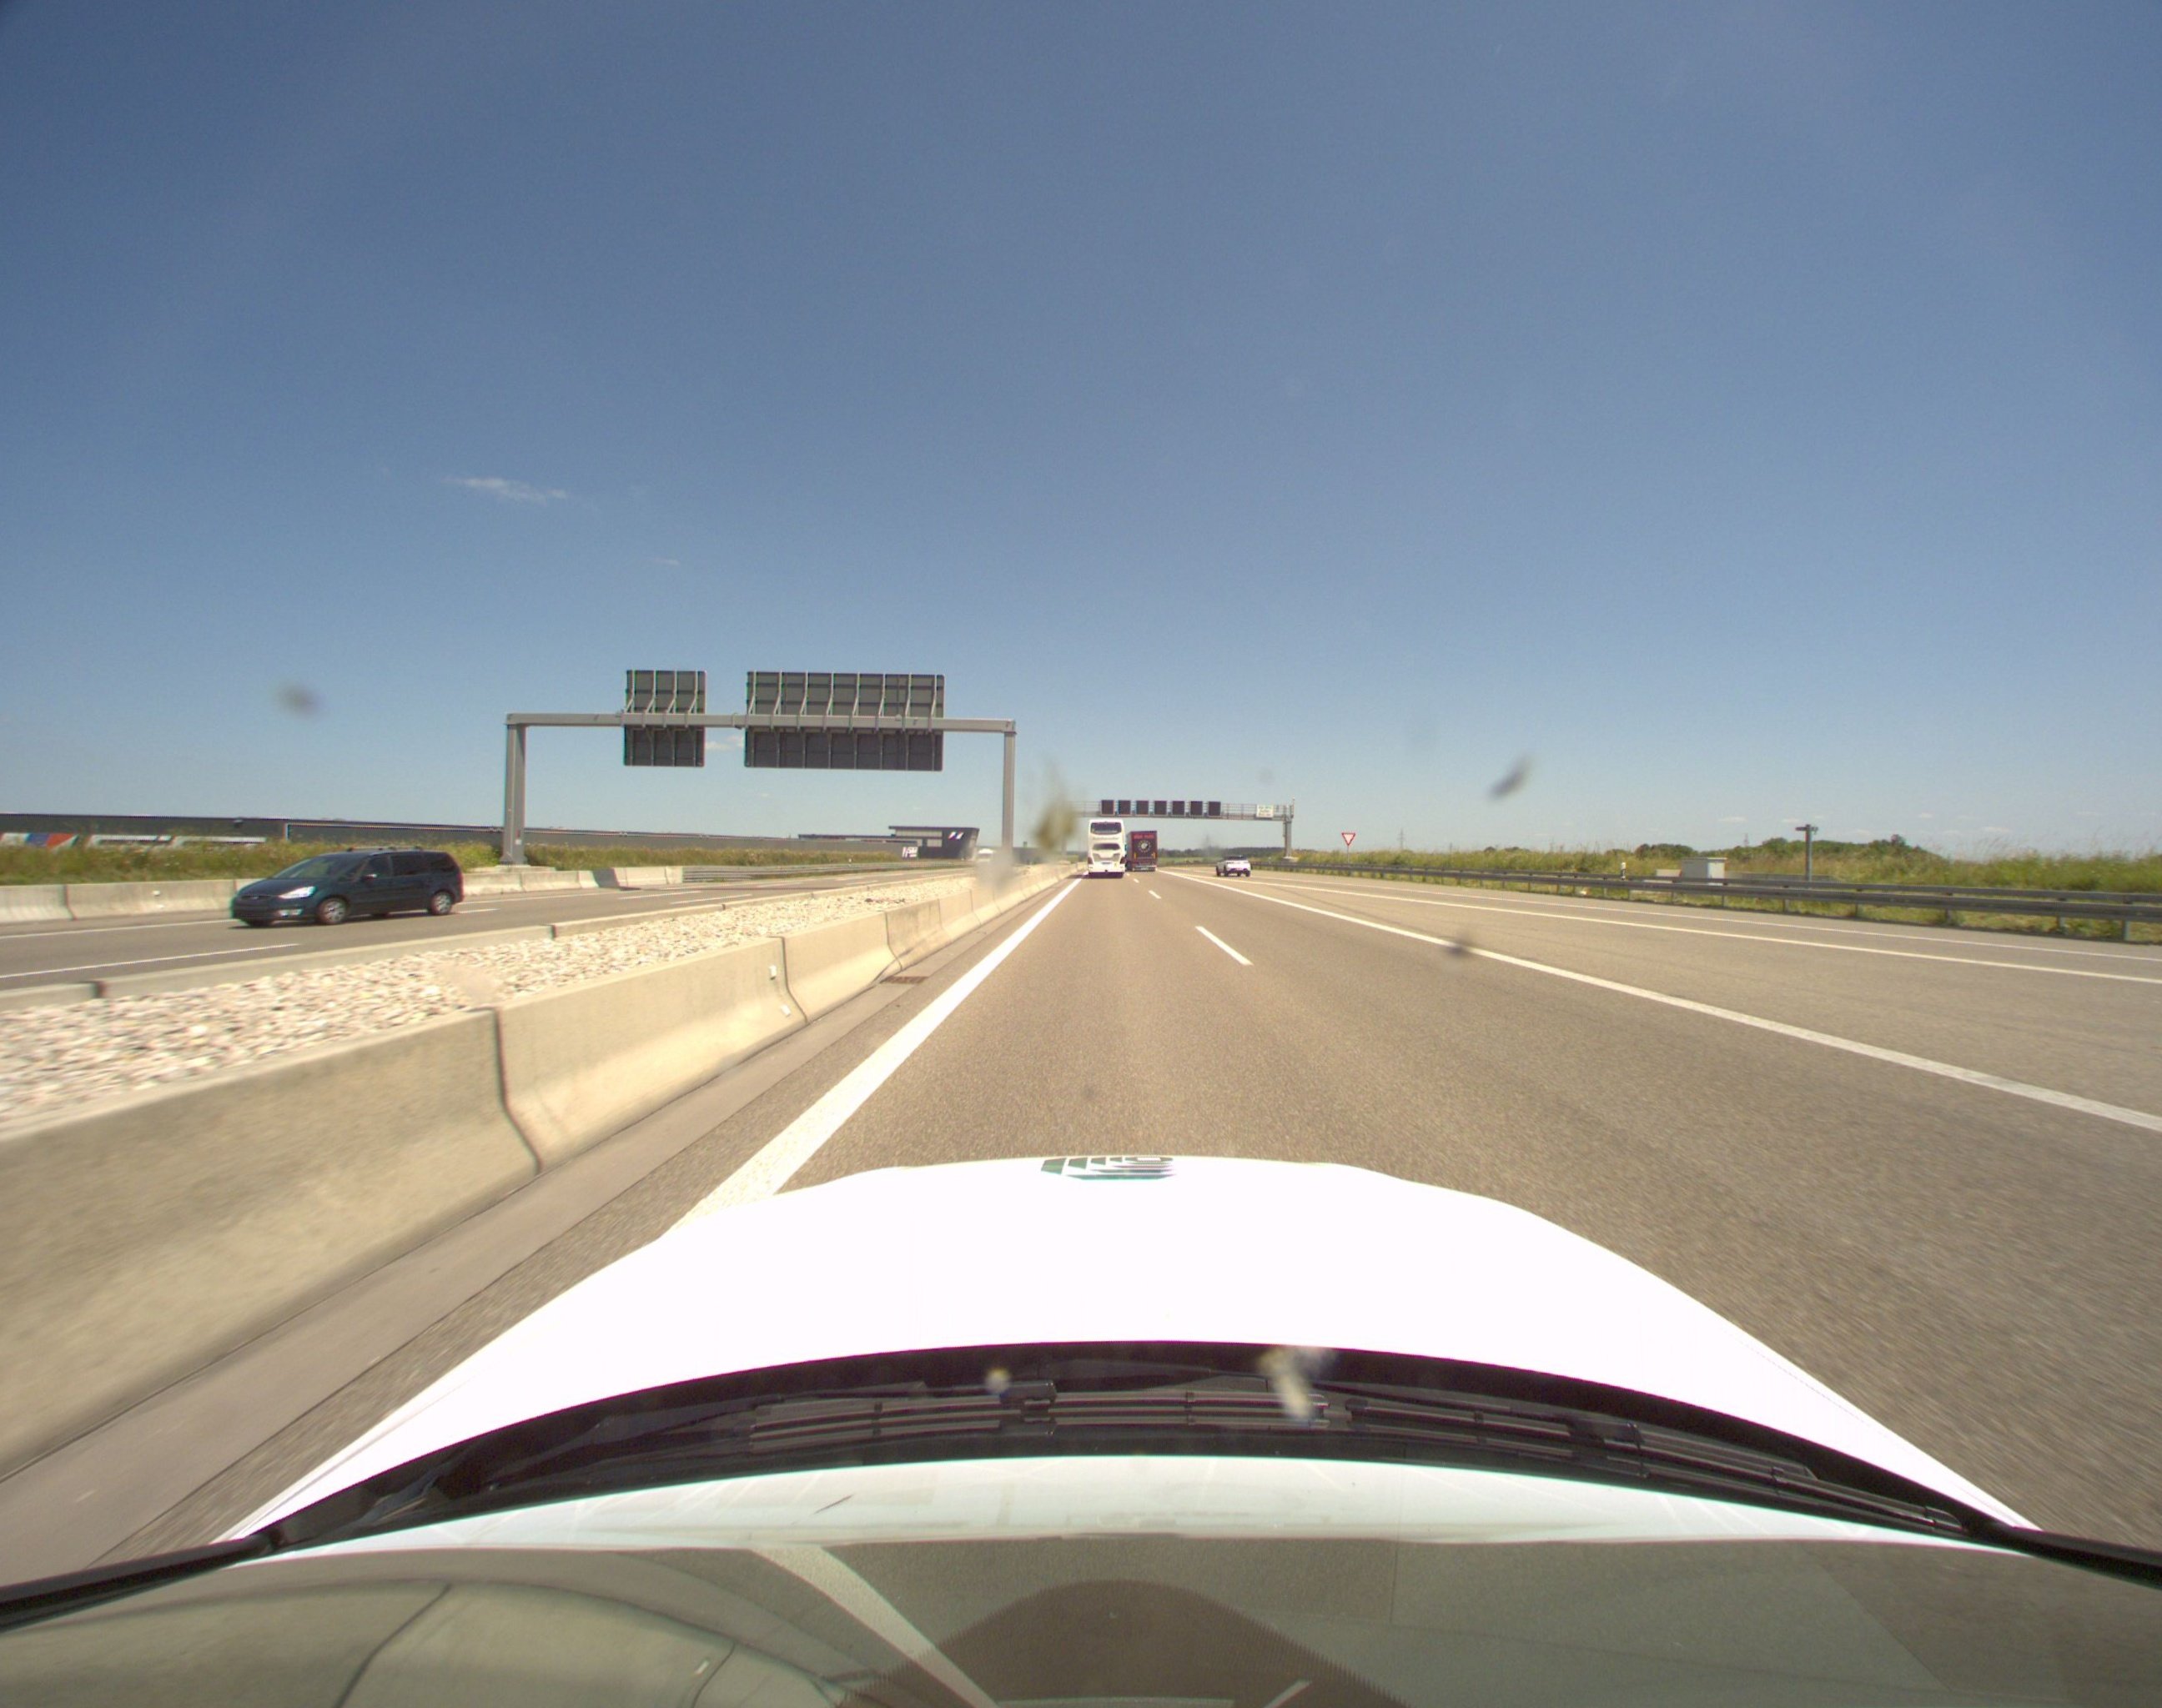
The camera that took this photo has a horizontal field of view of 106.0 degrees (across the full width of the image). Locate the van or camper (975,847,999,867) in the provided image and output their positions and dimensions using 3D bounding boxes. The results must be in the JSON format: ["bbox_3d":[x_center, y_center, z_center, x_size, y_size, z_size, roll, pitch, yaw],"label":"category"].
[{"bbox_3d":[-12.279,0.377,106.966,2.311,2.558,6.317,0,0,1],"label":"van or camper"}]

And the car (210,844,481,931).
[{"bbox_3d":[-17.335,0.715,19.633,1.838,1.823,4.926,0,0,4],"label":"car"}]

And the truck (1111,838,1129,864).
[{"bbox_3d":[5.877,-0.443,122.512,2.429,3.789,6.493,0,0,1],"label":"truck"}]

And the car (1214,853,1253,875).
[{"bbox_3d":[10.988,0.693,58.878,1.886,1.529,4.259,0,0,-2],"label":"car"}]

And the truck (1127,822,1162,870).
[{"bbox_3d":[6.478,-0.660,85.373,3.365,4.464,13.575,0,-2,3],"label":"truck"}]

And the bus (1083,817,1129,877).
[{"bbox_3d":[1.685,-0.523,59.205,2.971,3.974,9.101,0,1,-1],"label":"bus"}]
